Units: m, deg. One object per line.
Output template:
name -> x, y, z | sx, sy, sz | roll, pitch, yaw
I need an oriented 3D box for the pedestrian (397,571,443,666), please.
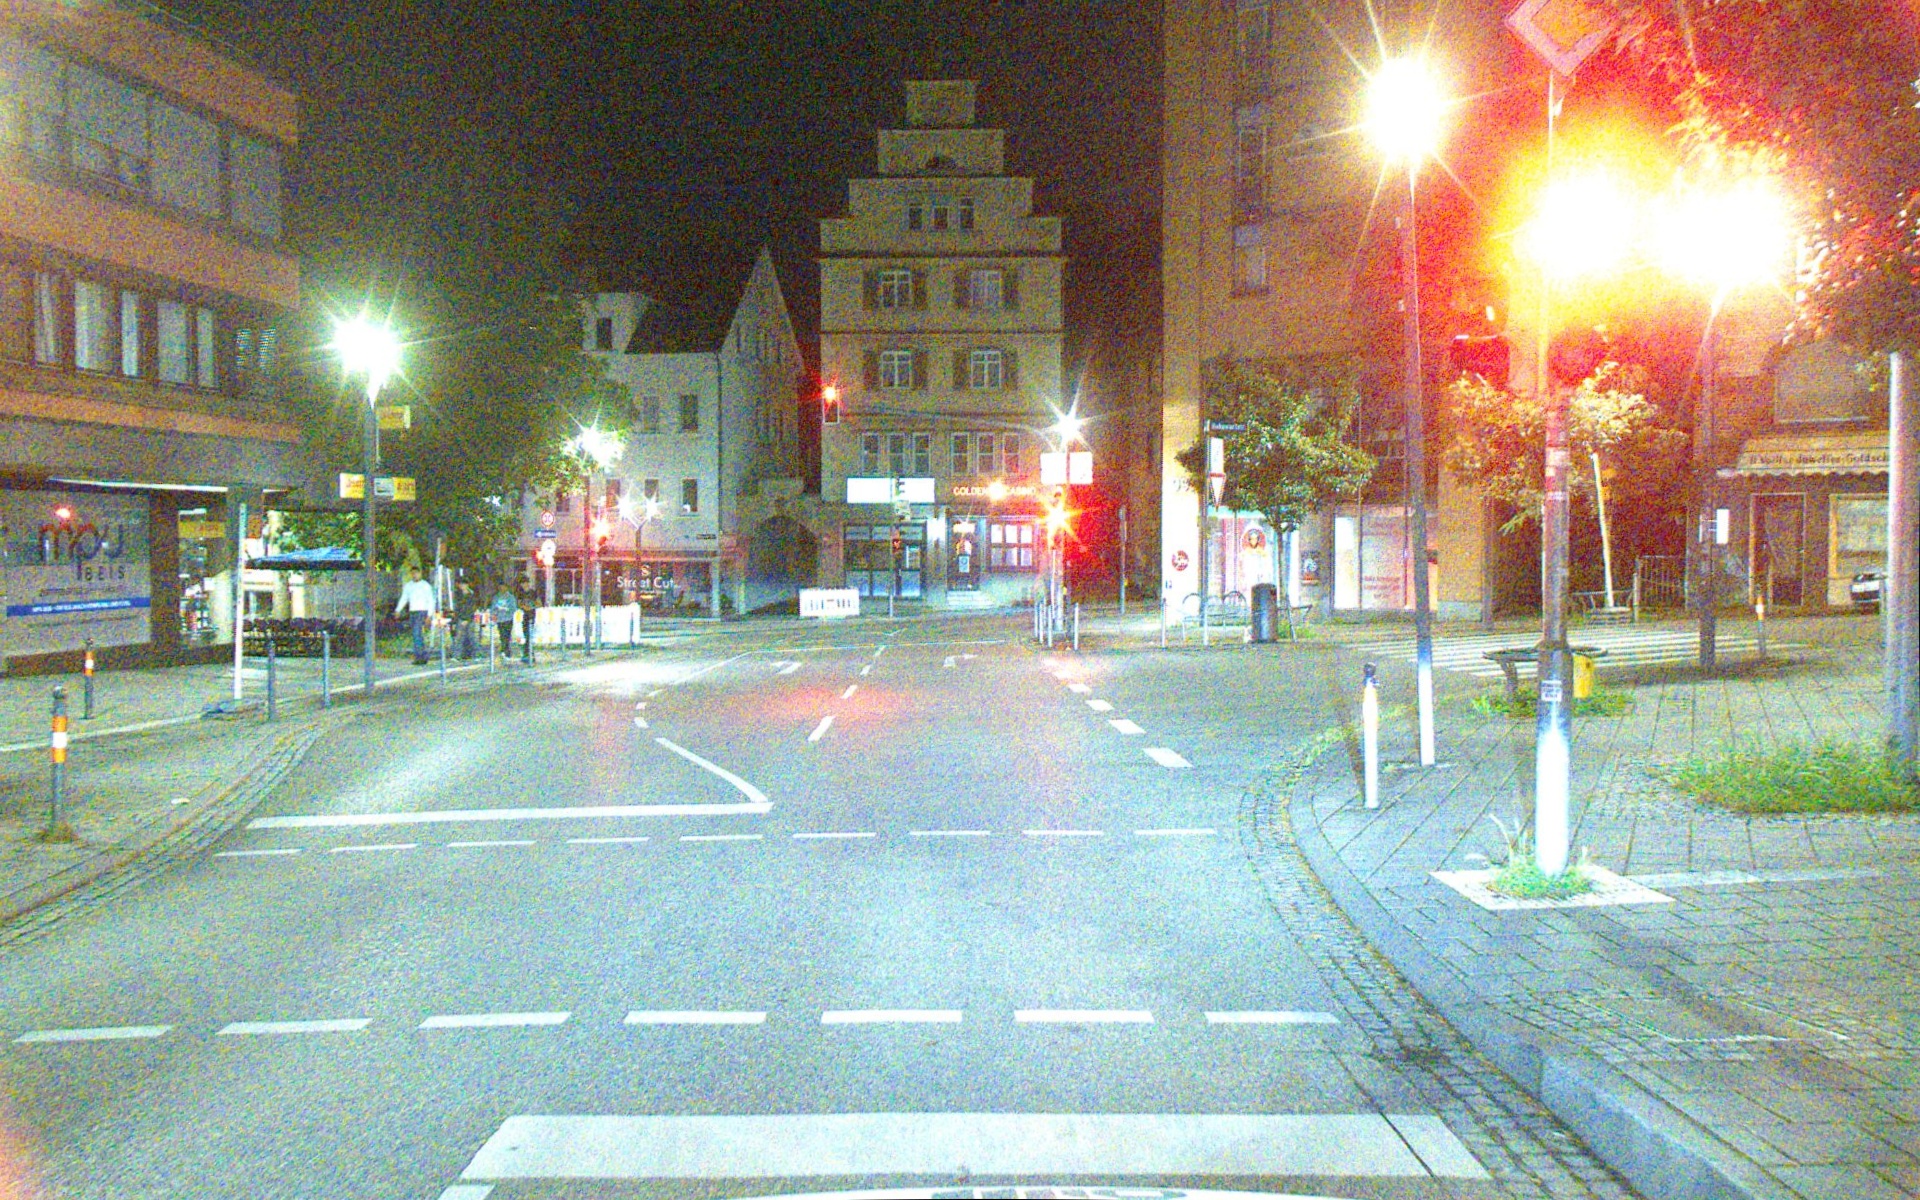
pedestrian -> -10.497, 0.361, 32.179 | 0.702, 1.827, 0.569 | 1, -2, -6

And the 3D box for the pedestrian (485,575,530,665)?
pedestrian -> -9.366, 0.413, 34.241 | 0.701, 1.827, 0.570 | 1, -2, 6

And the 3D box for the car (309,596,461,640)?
car -> -18.590, 0.590, 53.615 | 4.331, 1.320, 1.640 | 1, -1, -5

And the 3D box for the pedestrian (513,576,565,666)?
pedestrian -> -8.674, 0.443, 34.081 | 0.702, 1.827, 0.736 | 0, -2, 27

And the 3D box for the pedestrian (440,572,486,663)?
pedestrian -> -10.144, 0.365, 33.773 | 0.701, 1.827, 0.570 | 1, -2, 6

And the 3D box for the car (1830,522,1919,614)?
car -> 17.152, -0.623, 27.885 | 3.956, 1.478, 1.827 | -3, 1, 6

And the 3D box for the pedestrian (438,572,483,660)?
pedestrian -> -10.523, 0.341, 34.828 | 0.701, 1.827, 0.570 | 1, -2, 6
